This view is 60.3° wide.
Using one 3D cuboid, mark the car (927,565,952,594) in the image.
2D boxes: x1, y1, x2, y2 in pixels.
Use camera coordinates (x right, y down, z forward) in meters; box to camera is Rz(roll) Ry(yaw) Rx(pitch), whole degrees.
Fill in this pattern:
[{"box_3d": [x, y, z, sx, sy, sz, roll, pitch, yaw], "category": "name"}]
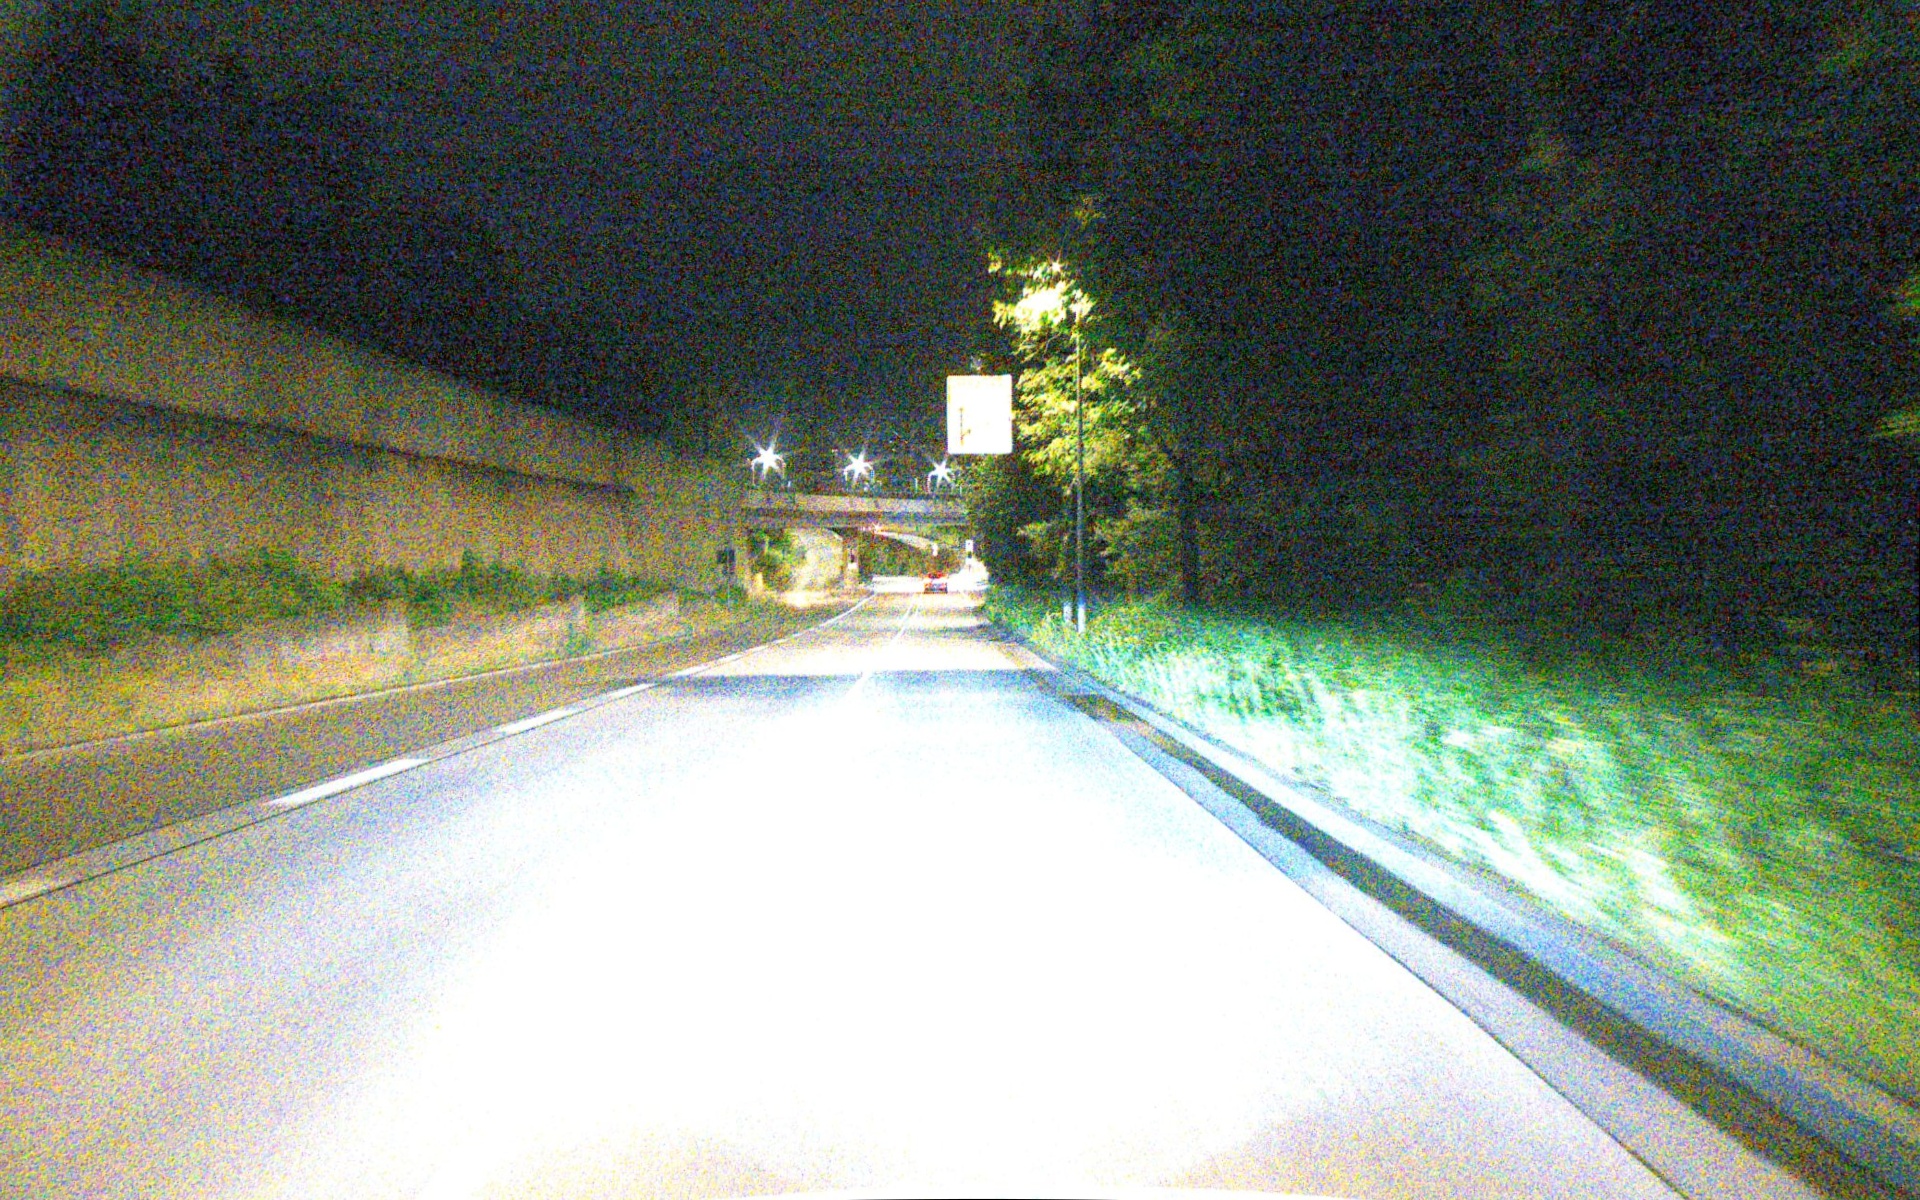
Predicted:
[{"box_3d": [-1.560, -1.544, 125.728, 1.880, 2.049, 4.121, 1, 0, -1], "category": "car"}]
